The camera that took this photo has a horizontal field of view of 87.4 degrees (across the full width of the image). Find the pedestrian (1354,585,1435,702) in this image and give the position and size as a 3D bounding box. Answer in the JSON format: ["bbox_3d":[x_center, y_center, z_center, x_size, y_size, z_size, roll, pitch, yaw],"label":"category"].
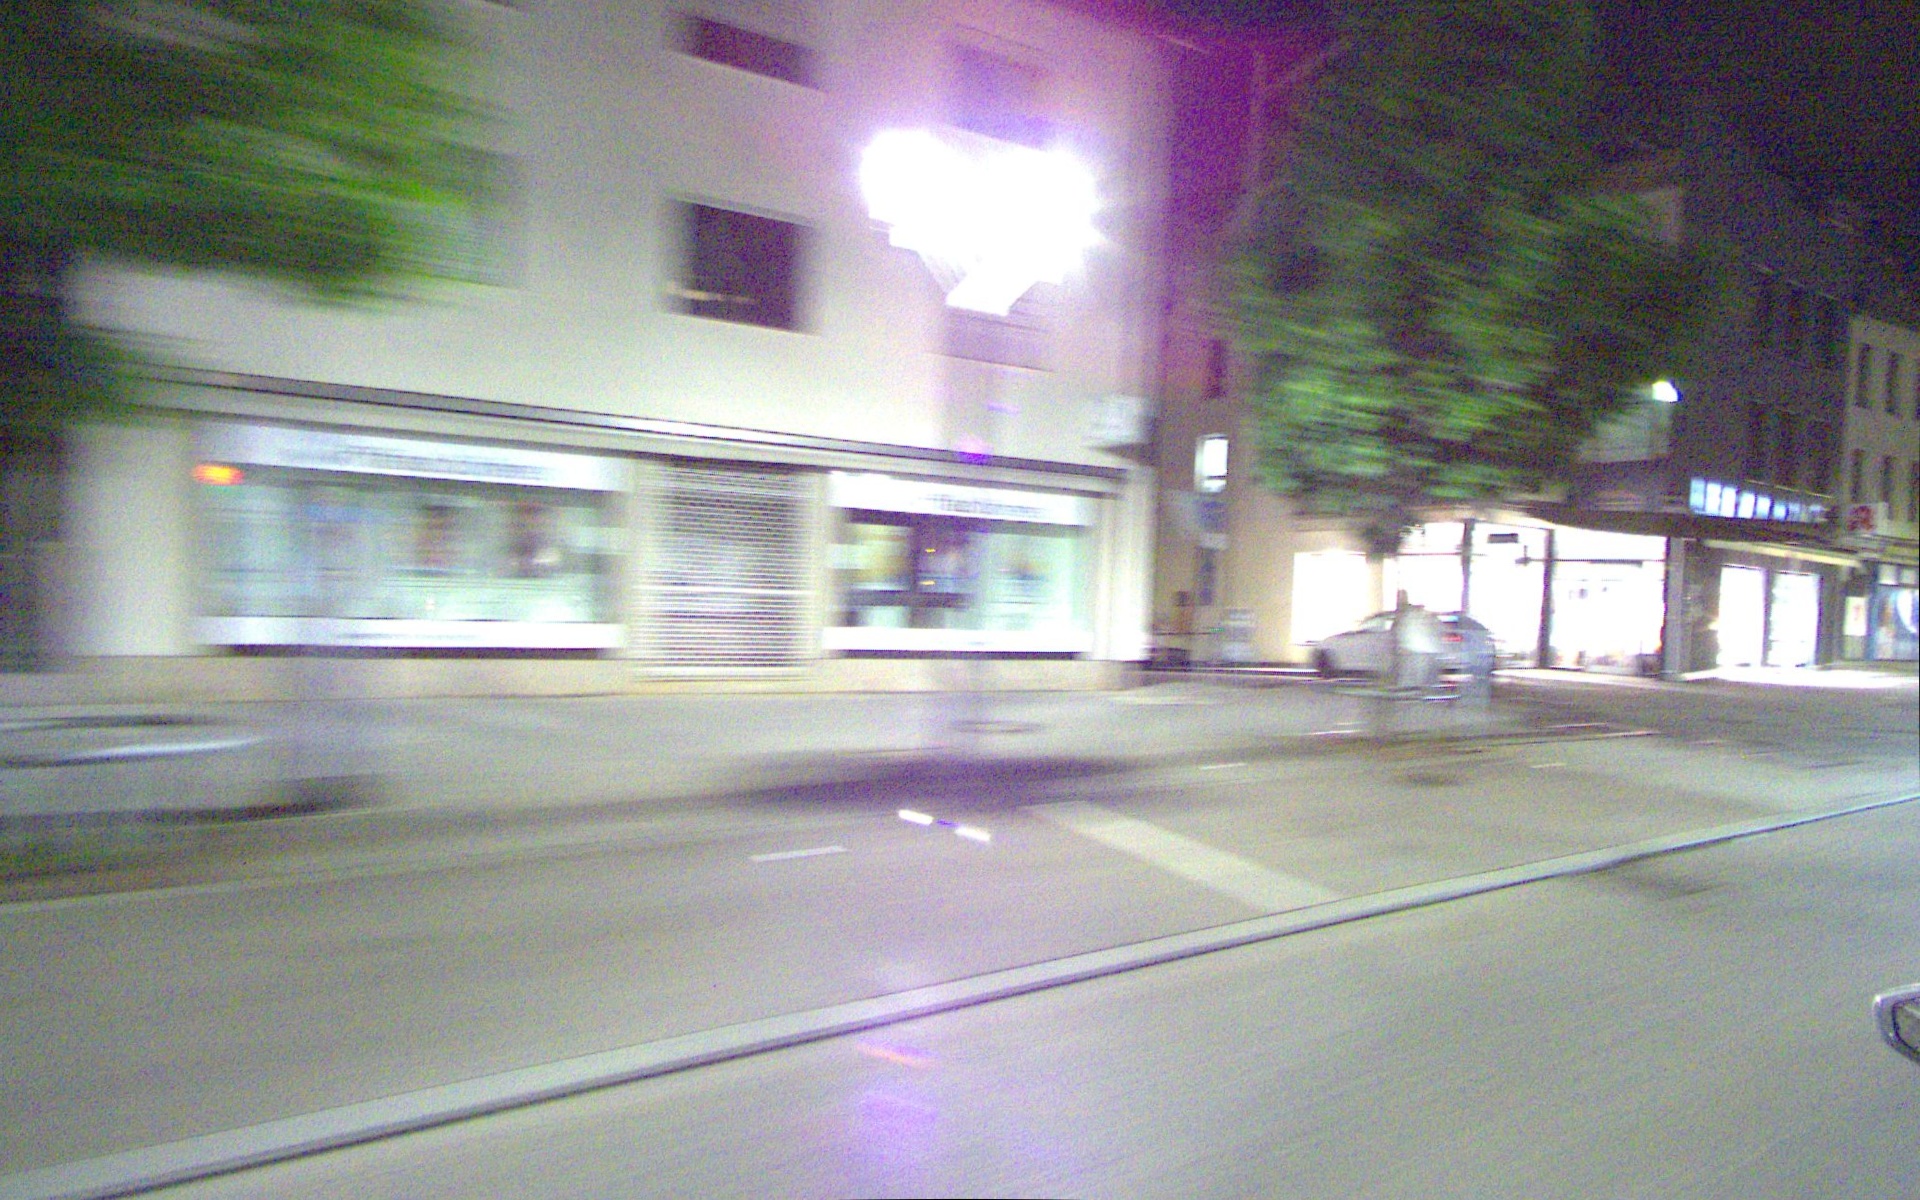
[{"bbox_3d":[6.507,0.623,15.059,0.807,1.678,0.766,0,1,-29],"label":"pedestrian"}]

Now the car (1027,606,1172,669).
[{"bbox_3d":[3.975,1.091,29.301,1.970,1.643,4.144,3,-3,-32],"label":"car"}]

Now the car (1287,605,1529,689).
[{"bbox_3d":[8.613,0.911,19.713,1.817,1.457,4.154,2,-3,-26],"label":"car"}]

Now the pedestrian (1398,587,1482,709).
[{"bbox_3d":[6.865,0.654,14.371,0.772,1.678,0.766,0,1,-29],"label":"pedestrian"}]
